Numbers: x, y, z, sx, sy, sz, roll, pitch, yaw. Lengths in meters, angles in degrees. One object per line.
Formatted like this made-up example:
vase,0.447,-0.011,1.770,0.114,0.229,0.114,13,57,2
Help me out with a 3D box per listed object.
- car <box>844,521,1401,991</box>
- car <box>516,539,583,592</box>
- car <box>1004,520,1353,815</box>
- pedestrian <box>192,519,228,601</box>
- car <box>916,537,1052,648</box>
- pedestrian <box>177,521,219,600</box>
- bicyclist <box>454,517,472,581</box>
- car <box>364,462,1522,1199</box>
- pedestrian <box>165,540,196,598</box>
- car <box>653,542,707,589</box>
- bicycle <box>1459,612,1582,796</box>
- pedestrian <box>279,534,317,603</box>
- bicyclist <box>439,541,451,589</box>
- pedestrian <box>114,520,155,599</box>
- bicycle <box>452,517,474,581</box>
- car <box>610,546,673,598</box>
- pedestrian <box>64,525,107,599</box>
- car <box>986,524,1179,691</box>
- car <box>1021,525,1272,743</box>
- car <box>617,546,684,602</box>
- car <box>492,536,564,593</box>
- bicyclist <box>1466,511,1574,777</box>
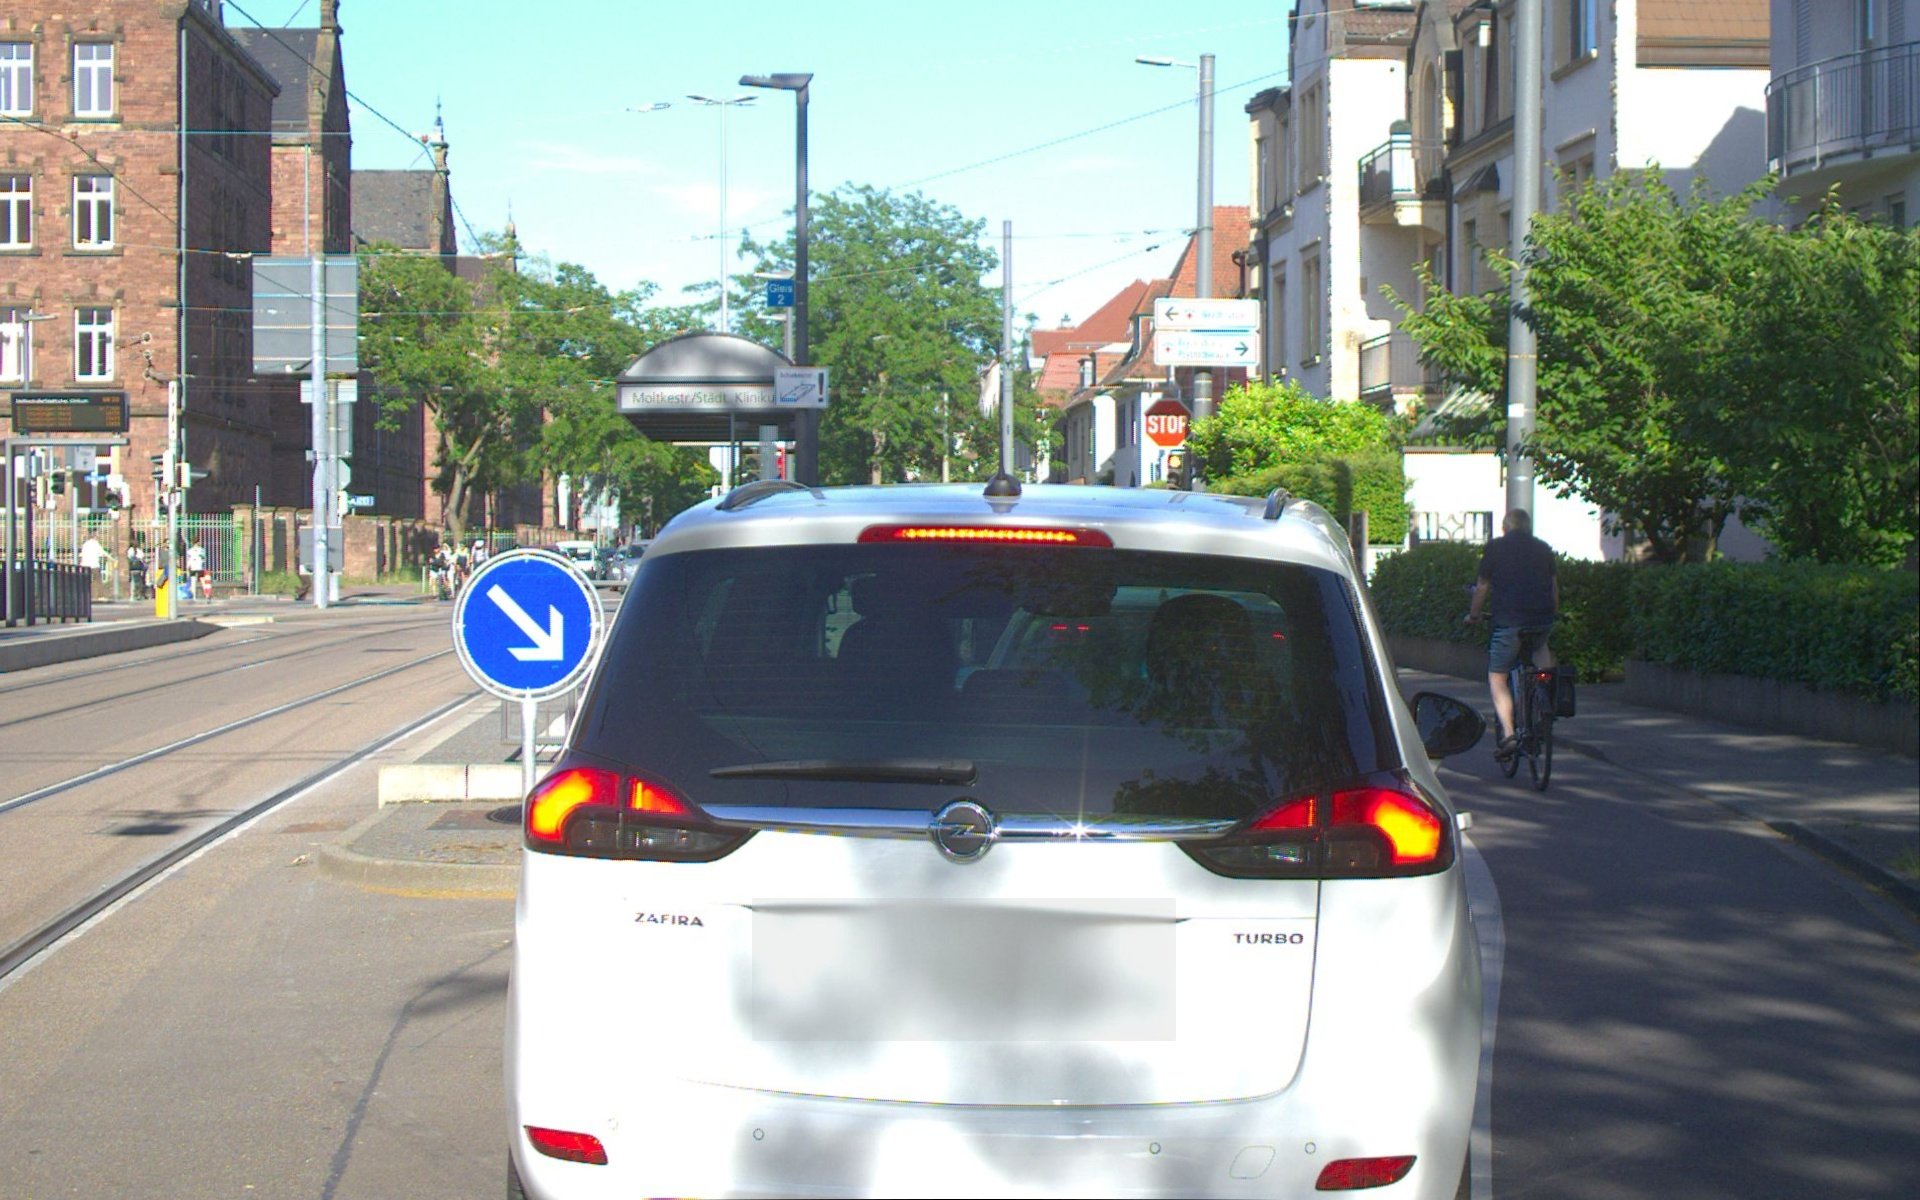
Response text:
car,0.781,0.493,13.774,1.907,1.592,3.999,0,1,7
car,-13.565,-1.146,113.711,1.746,1.710,4.000,1,1,-1
car,1.429,0.332,20.997,1.907,1.619,3.999,0,1,7
pedestrian,-18.537,-0.993,84.973,0.794,2.007,0.721,1,0,-17
car,0.333,-0.145,53.089,1.907,1.656,4.001,0,1,-2
pedestrian,-19.721,-1.022,88.966,0.795,2.007,0.720,1,0,-37
bicyclist,-15.744,-1.620,108.911,0.498,2.007,0.572,0,1,-1
car,0.184,0.567,7.618,1.907,1.656,3.999,0,1,7
pedestrian,-21.595,-0.853,95.280,0.654,1.606,0.711,1,0,2
car,-10.502,-1.286,129.069,1.746,1.710,4.000,1,1,-1
bicycle,3.603,0.642,22.209,0.624,1.093,1.973,0,1,5
pedestrian,-18.310,-0.869,95.052,0.741,1.894,0.810,1,0,-34
bicyclist,-15.436,-1.057,103.041,0.313,1.439,0.384,0,1,-1
pedestrian,-21.207,-1.037,88.344,0.795,2.007,0.720,1,0,-34
bicycle,-15.739,-1.620,108.893,0.487,2.007,1.405,0,1,0
car,-10.664,-0.940,115.217,1.746,1.710,4.000,1,1,-1
pedestrian,-22.632,-0.985,89.017,0.808,1.894,0.743,1,0,14
car,1.240,0.039,36.111,1.907,1.656,4.000,0,1,1
car,1.564,0.220,28.274,1.907,1.656,4.000,0,1,4
car,-9.651,-0.811,107.360,1.746,1.710,4.000,1,1,-1
car,-13.438,-1.111,107.043,1.746,1.710,4.000,1,1,-1
bicyclist,3.600,0.273,22.144,0.616,1.681,0.779,0,1,5
